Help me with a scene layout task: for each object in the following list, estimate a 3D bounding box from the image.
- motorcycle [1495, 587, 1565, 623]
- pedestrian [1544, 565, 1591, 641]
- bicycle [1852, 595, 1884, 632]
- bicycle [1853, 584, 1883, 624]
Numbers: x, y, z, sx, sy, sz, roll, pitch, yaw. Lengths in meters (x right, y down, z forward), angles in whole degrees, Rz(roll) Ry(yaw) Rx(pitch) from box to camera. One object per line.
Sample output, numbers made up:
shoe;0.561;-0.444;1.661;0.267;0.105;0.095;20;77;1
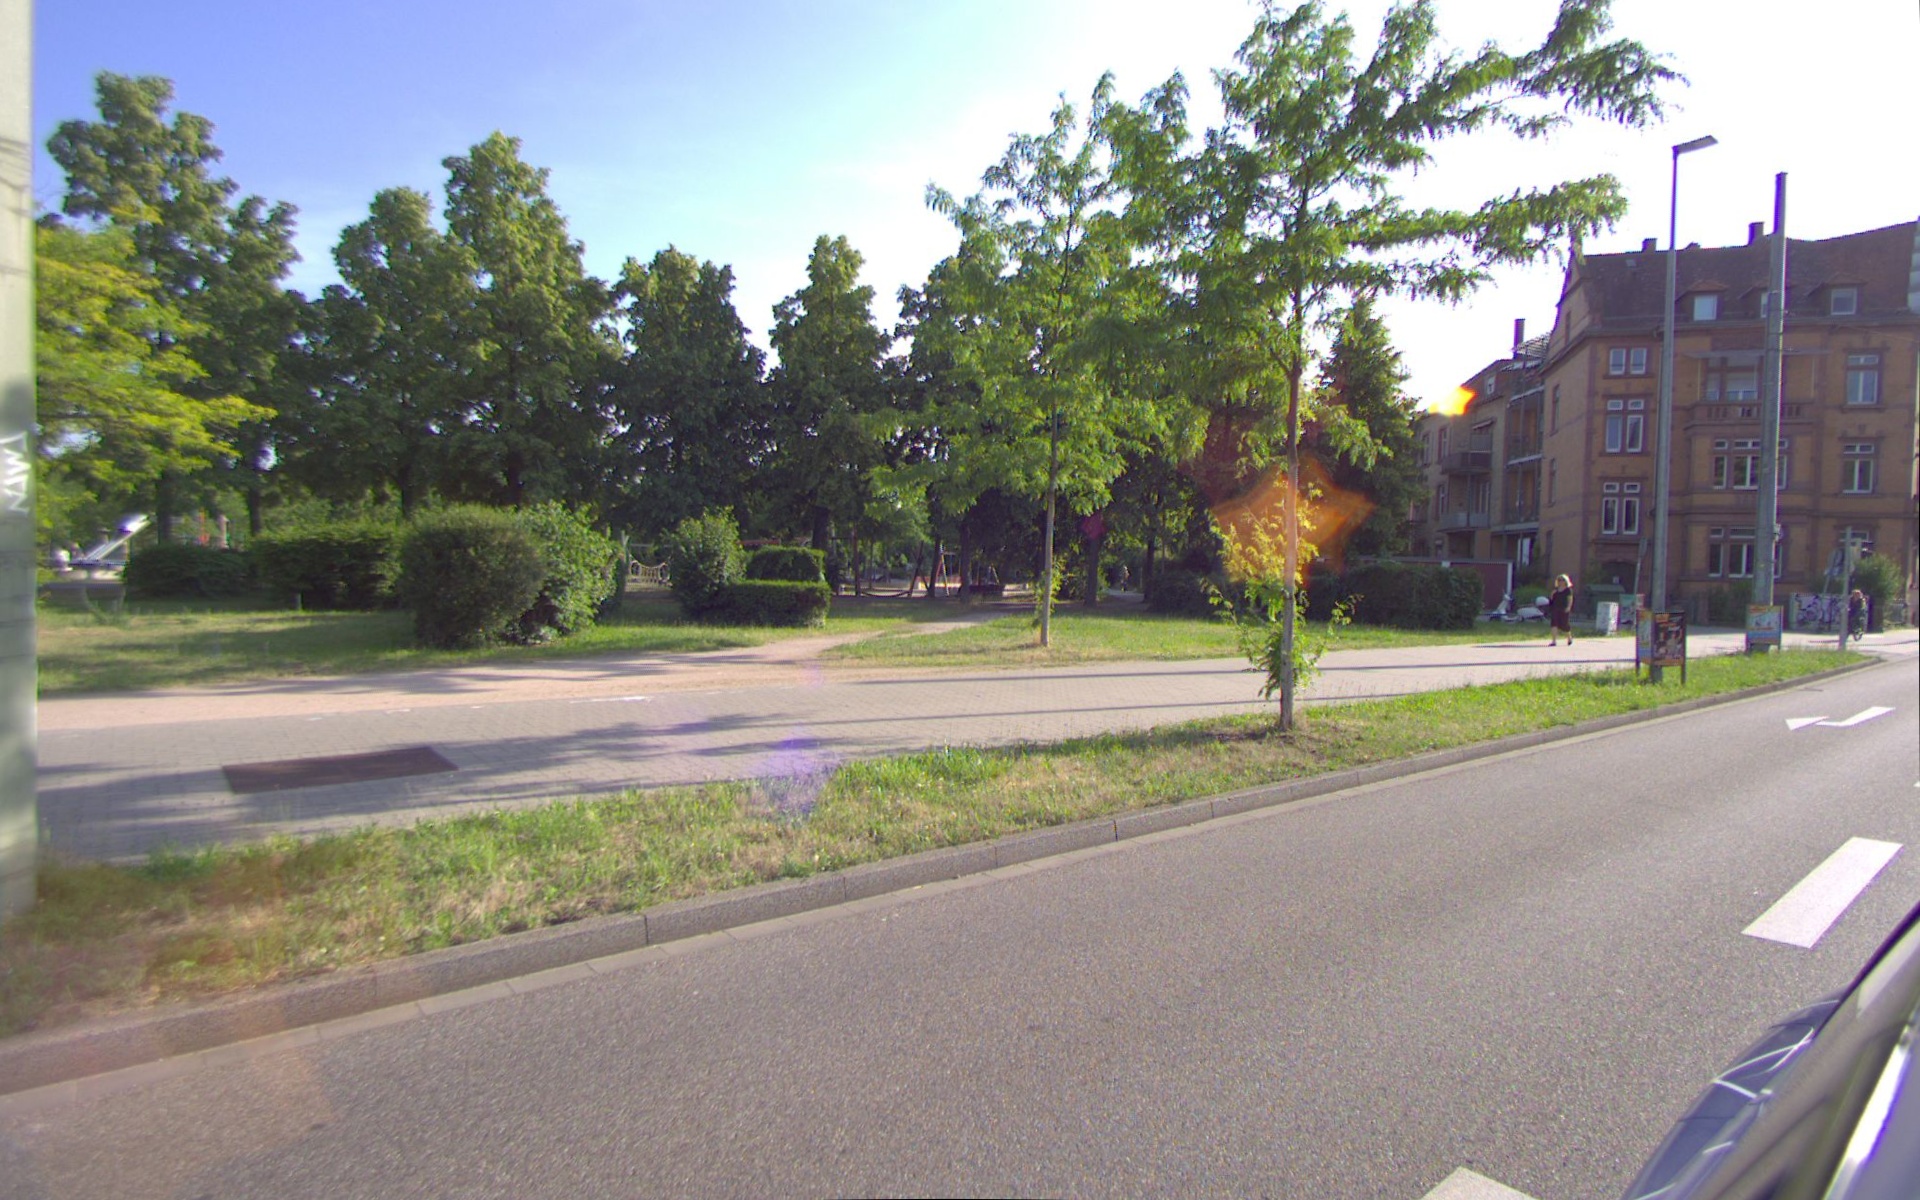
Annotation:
motorcycle;19.849;0.159;35.242;0.696;1.174;1.997;1;1;-45
pedestrian;14.478;0.066;24.121;0.538;1.711;0.617;1;6;-36
bicycle;29.876;0.438;33.299;1.313;1.205;0.485;1;1;-35
bicycle;29.871;0.129;33.291;0.675;1.314;0.575;1;1;-35
